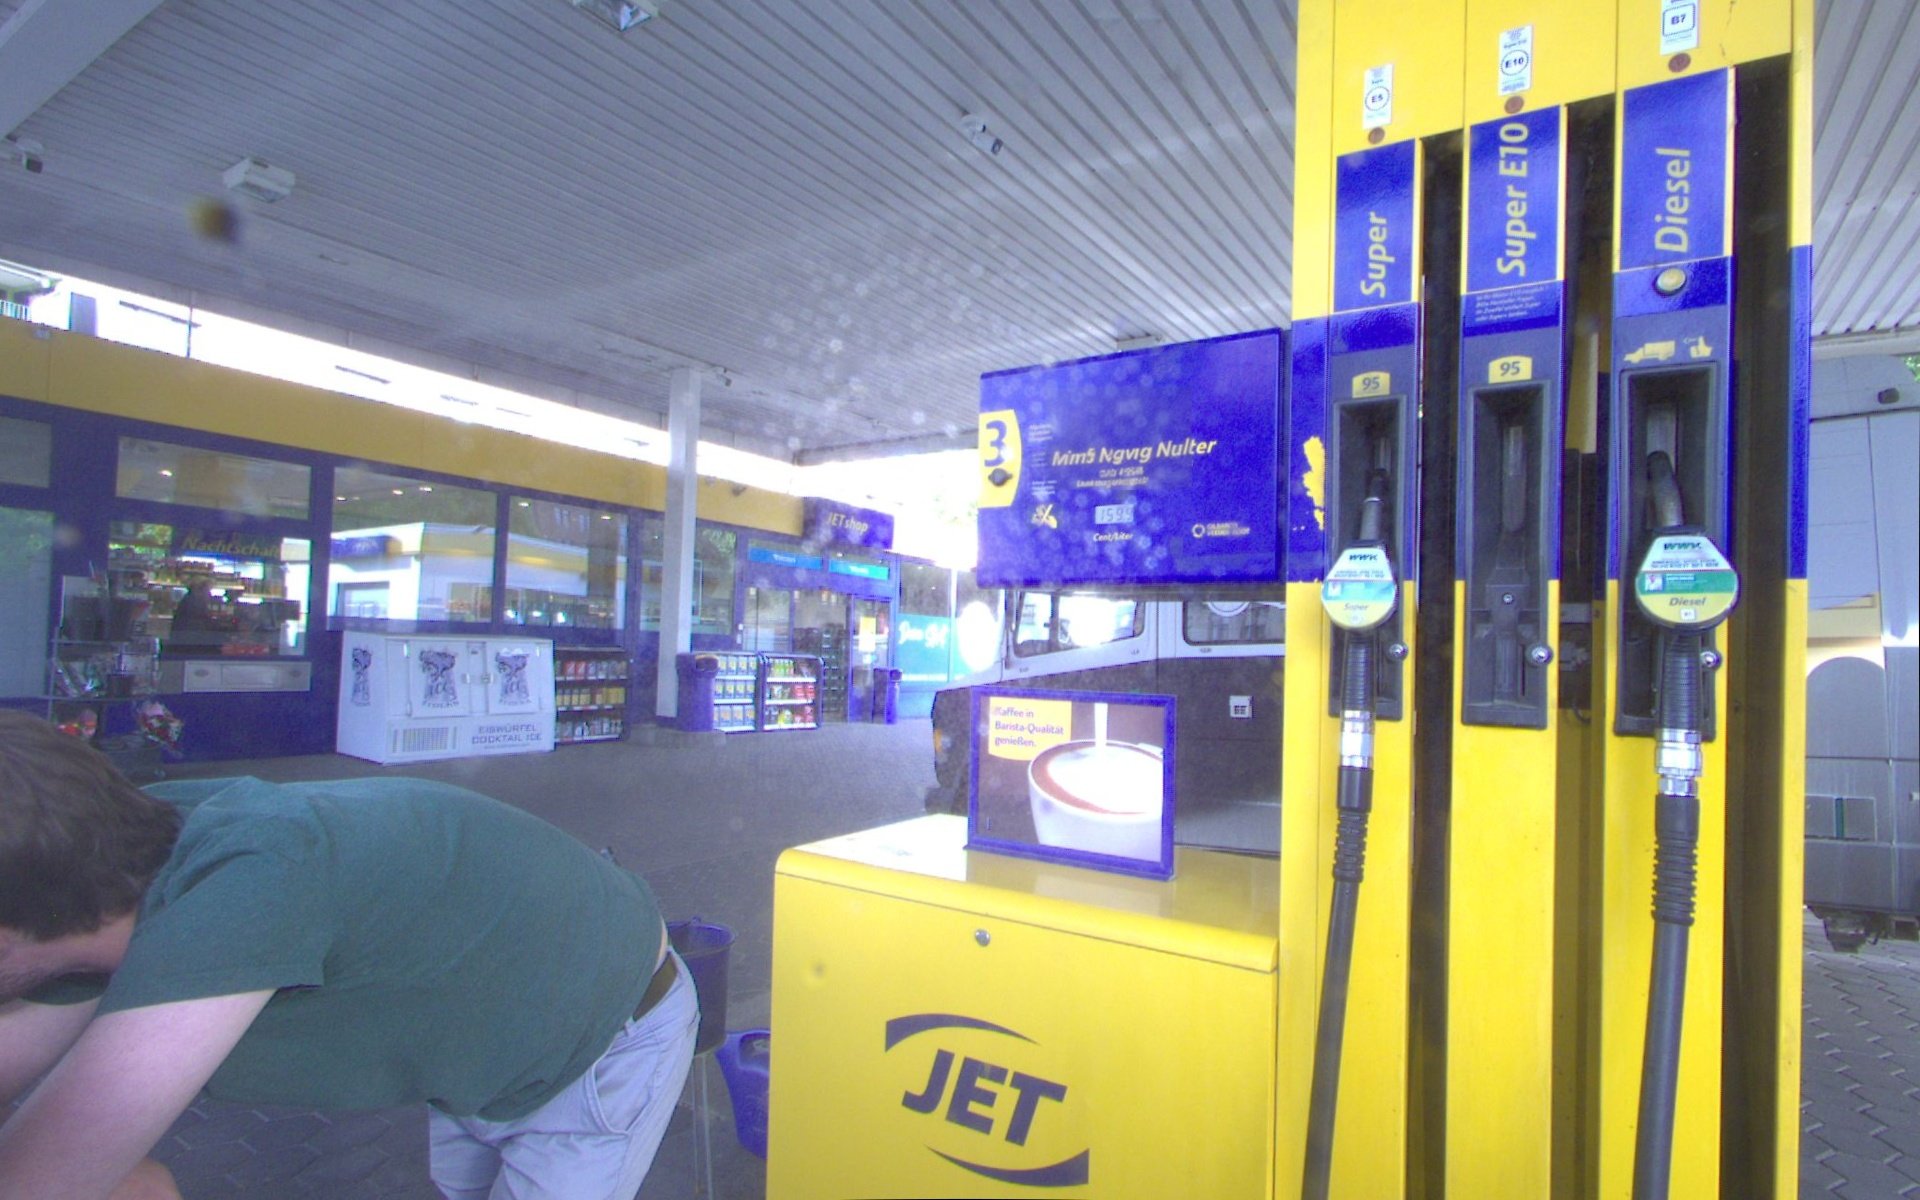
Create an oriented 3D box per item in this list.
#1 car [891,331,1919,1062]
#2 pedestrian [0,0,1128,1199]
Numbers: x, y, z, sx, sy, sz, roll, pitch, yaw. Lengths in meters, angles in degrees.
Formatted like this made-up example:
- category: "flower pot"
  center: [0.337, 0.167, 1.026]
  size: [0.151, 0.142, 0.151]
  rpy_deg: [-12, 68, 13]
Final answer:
- category: "car"
  center: [2.345, 0.440, 5.998]
  size: [5.271, 2.759, 2.193]
  rpy_deg: [-1, -3, 34]
- category: "pedestrian"
  center: [-0.527, 0.582, 1.081]
  size: [0.981, 1.750, 1.175]
  rpy_deg: [-2, -2, 36]
